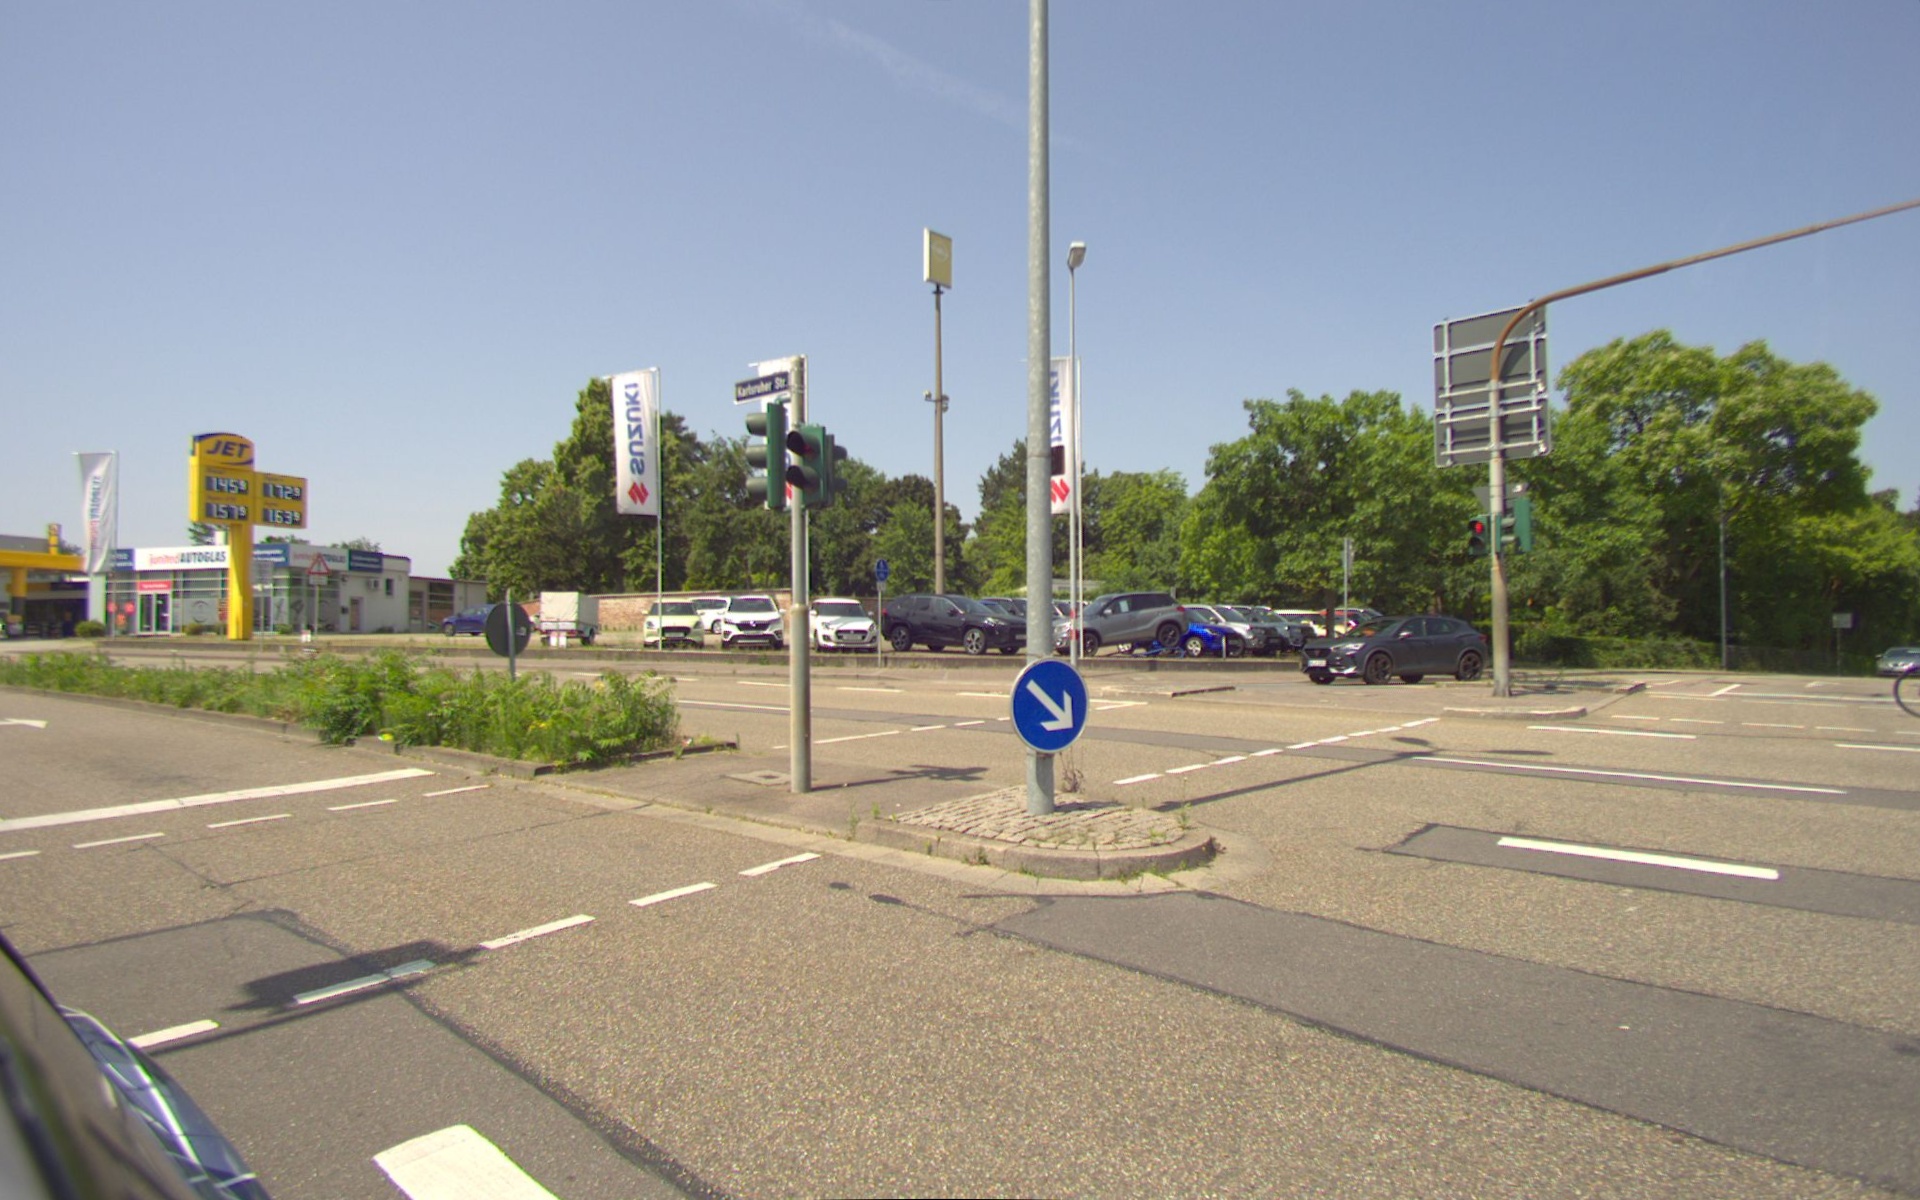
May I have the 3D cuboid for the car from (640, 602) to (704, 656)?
[{"bbox_3d":[-8.709,0.826,30.488,1.728,1.521,3.832,0,0,-17],"label":"car"}]

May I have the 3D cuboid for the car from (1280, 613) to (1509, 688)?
[{"bbox_3d":[9.418,1.124,21.994,4.364,1.497,2.010,2,-4,-21],"label":"car"}]

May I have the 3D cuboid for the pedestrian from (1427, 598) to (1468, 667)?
[{"bbox_3d":[13.592,0.884,28.210,0.977,1.885,0.808,-1,0,30],"label":"pedestrian"}]

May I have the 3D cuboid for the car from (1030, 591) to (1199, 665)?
[{"bbox_3d":[4.302,0.786,28.304,4.237,1.916,1.835,2,-1,-15],"label":"car"}]

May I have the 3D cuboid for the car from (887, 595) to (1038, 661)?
[{"bbox_3d":[0.023,0.736,28.610,4.009,1.737,1.822,0,-1,38],"label":"car"}]

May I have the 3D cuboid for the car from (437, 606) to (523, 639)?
[{"bbox_3d":[-22.754,1.063,47.967,3.604,1.517,1.683,-1,-1,20],"label":"car"}]

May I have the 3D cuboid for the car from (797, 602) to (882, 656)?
[{"bbox_3d":[-3.514,0.787,28.947,1.687,1.443,3.975,1,0,-17],"label":"car"}]

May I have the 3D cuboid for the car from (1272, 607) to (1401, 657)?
[{"bbox_3d":[13.503,1.104,36.387,3.996,1.696,1.844,-1,0,39],"label":"car"}]

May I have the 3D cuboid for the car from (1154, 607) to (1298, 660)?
[{"bbox_3d":[8.276,1.001,31.687,3.996,1.548,1.772,-1,0,39],"label":"car"}]

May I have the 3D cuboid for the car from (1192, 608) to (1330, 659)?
[{"bbox_3d":[9.904,1.096,33.406,3.995,1.582,1.818,-1,-2,38],"label":"car"}]

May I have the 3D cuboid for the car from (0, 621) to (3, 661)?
[{"bbox_3d":[-36.621,1.523,36.102,4.234,1.436,1.862,-3,-2,19],"label":"car"}]

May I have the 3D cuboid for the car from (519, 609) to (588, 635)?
[{"bbox_3d":[-23.734,1.283,59.073,3.604,1.517,1.609,-1,-1,20],"label":"car"}]

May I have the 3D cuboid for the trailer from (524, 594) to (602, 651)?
[{"bbox_3d":[-12.451,0.689,31.849,1.668,1.717,2.437,0,-1,-5],"label":"trailer"}]

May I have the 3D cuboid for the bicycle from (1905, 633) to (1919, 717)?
[{"bbox_3d":[12.970,0.949,12.534,1.785,1.062,0.417,-1,0,35],"label":"bicycle"}]

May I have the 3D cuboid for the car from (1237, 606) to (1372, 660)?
[{"bbox_3d":[11.800,1.085,34.760,3.996,1.720,1.882,-1,0,39],"label":"car"}]

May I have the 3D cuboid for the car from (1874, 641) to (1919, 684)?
[{"bbox_3d":[42.273,2.732,44.875,4.685,1.622,1.766,0,0,-37],"label":"car"}]

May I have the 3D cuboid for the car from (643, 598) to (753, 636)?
[{"bbox_3d":[-11.926,0.801,46.047,4.718,1.662,1.684,-1,-1,18],"label":"car"}]

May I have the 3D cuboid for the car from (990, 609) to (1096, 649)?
[{"bbox_3d":[3.322,1.138,40.822,3.996,1.548,1.772,-1,0,39],"label":"car"}]

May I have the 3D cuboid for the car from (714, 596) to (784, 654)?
[{"bbox_3d":[-6.217,0.692,29.721,1.887,1.552,3.972,0,0,-12],"label":"car"}]
